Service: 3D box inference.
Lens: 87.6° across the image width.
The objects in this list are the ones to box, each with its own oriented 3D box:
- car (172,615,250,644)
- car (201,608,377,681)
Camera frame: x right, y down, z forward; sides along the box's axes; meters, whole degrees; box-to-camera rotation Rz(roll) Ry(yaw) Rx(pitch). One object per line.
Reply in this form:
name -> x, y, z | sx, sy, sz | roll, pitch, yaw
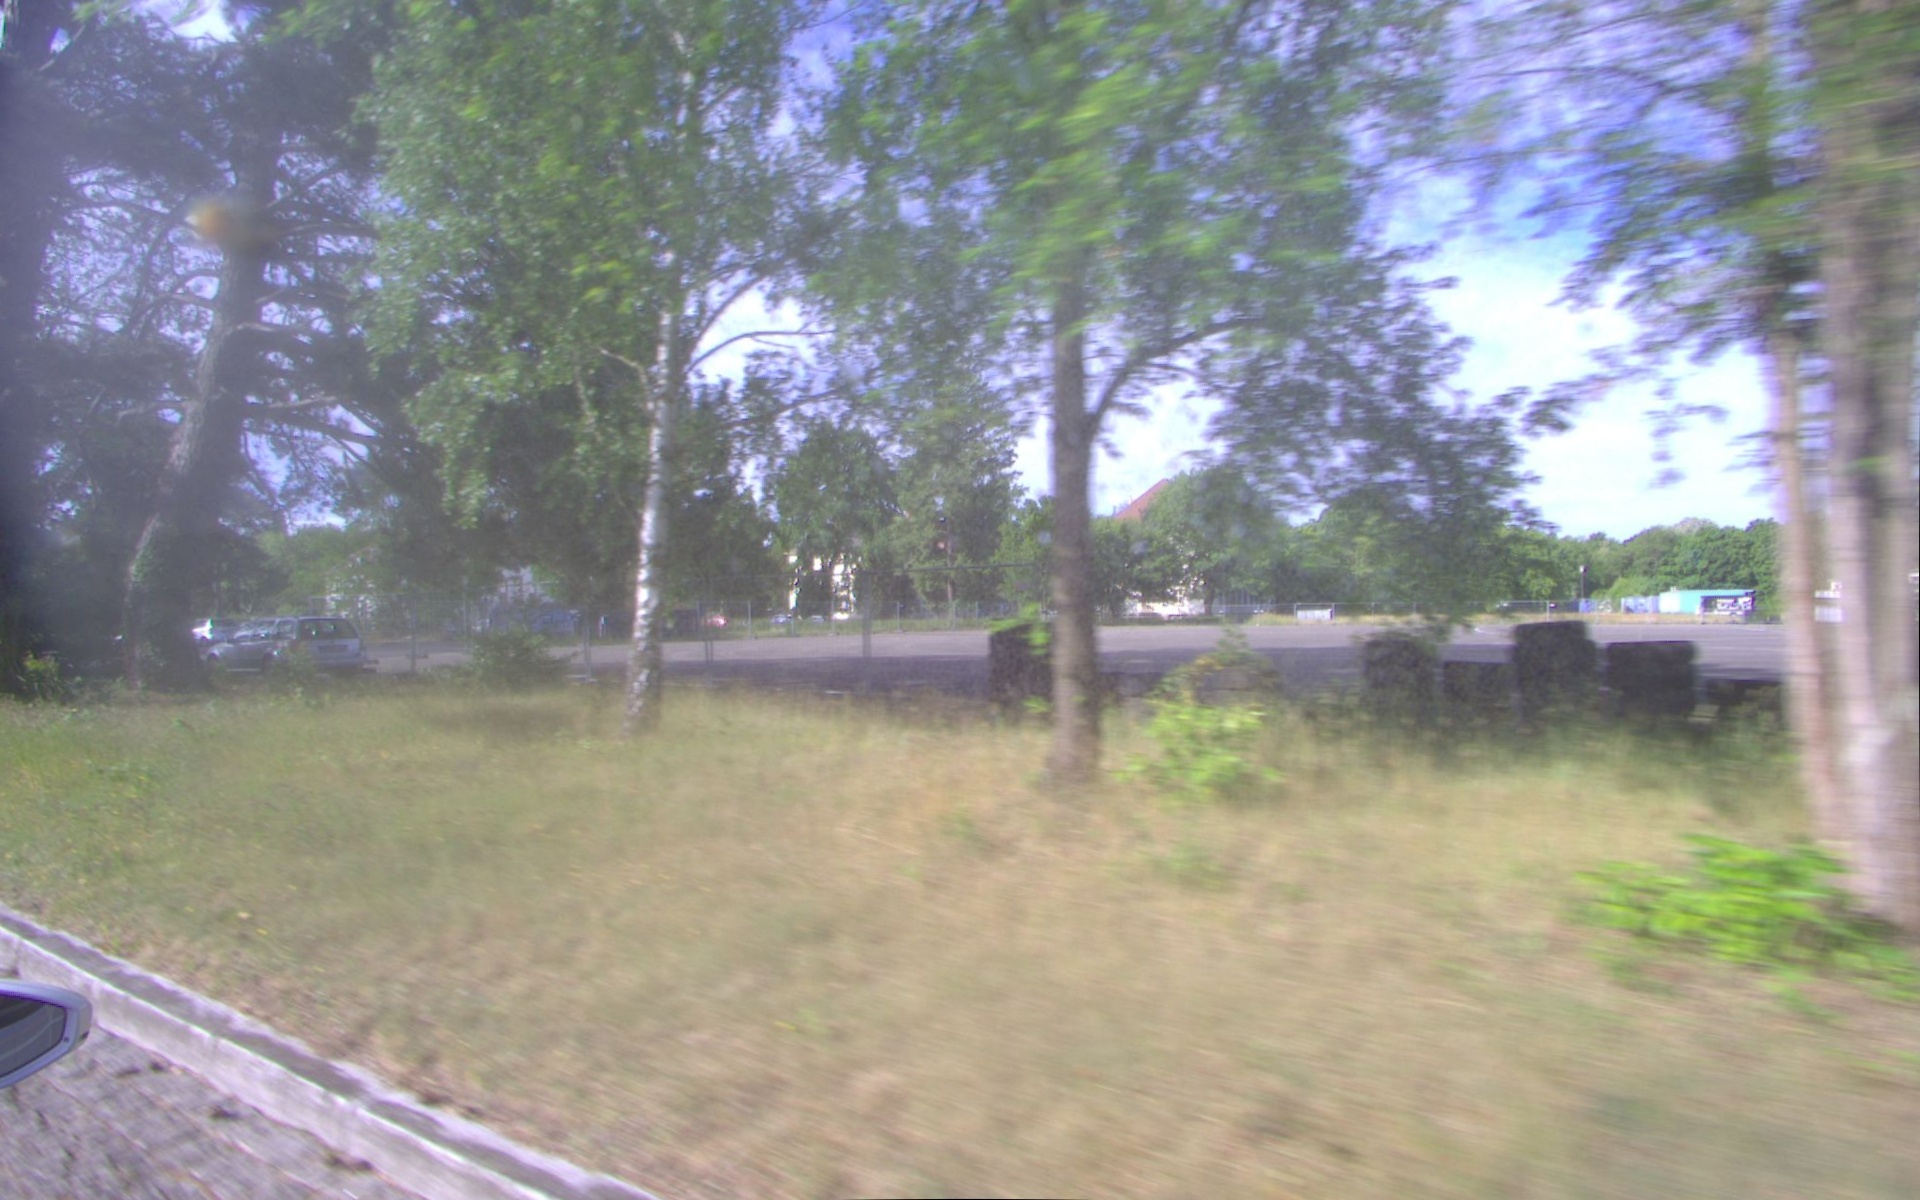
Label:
car -> -39.817, 1.547, 53.209 | 4.266, 1.496, 1.729 | -1, 0, 29
car -> -15.010, 0.954, 22.371 | 3.939, 1.487, 1.665 | -1, 0, 29
